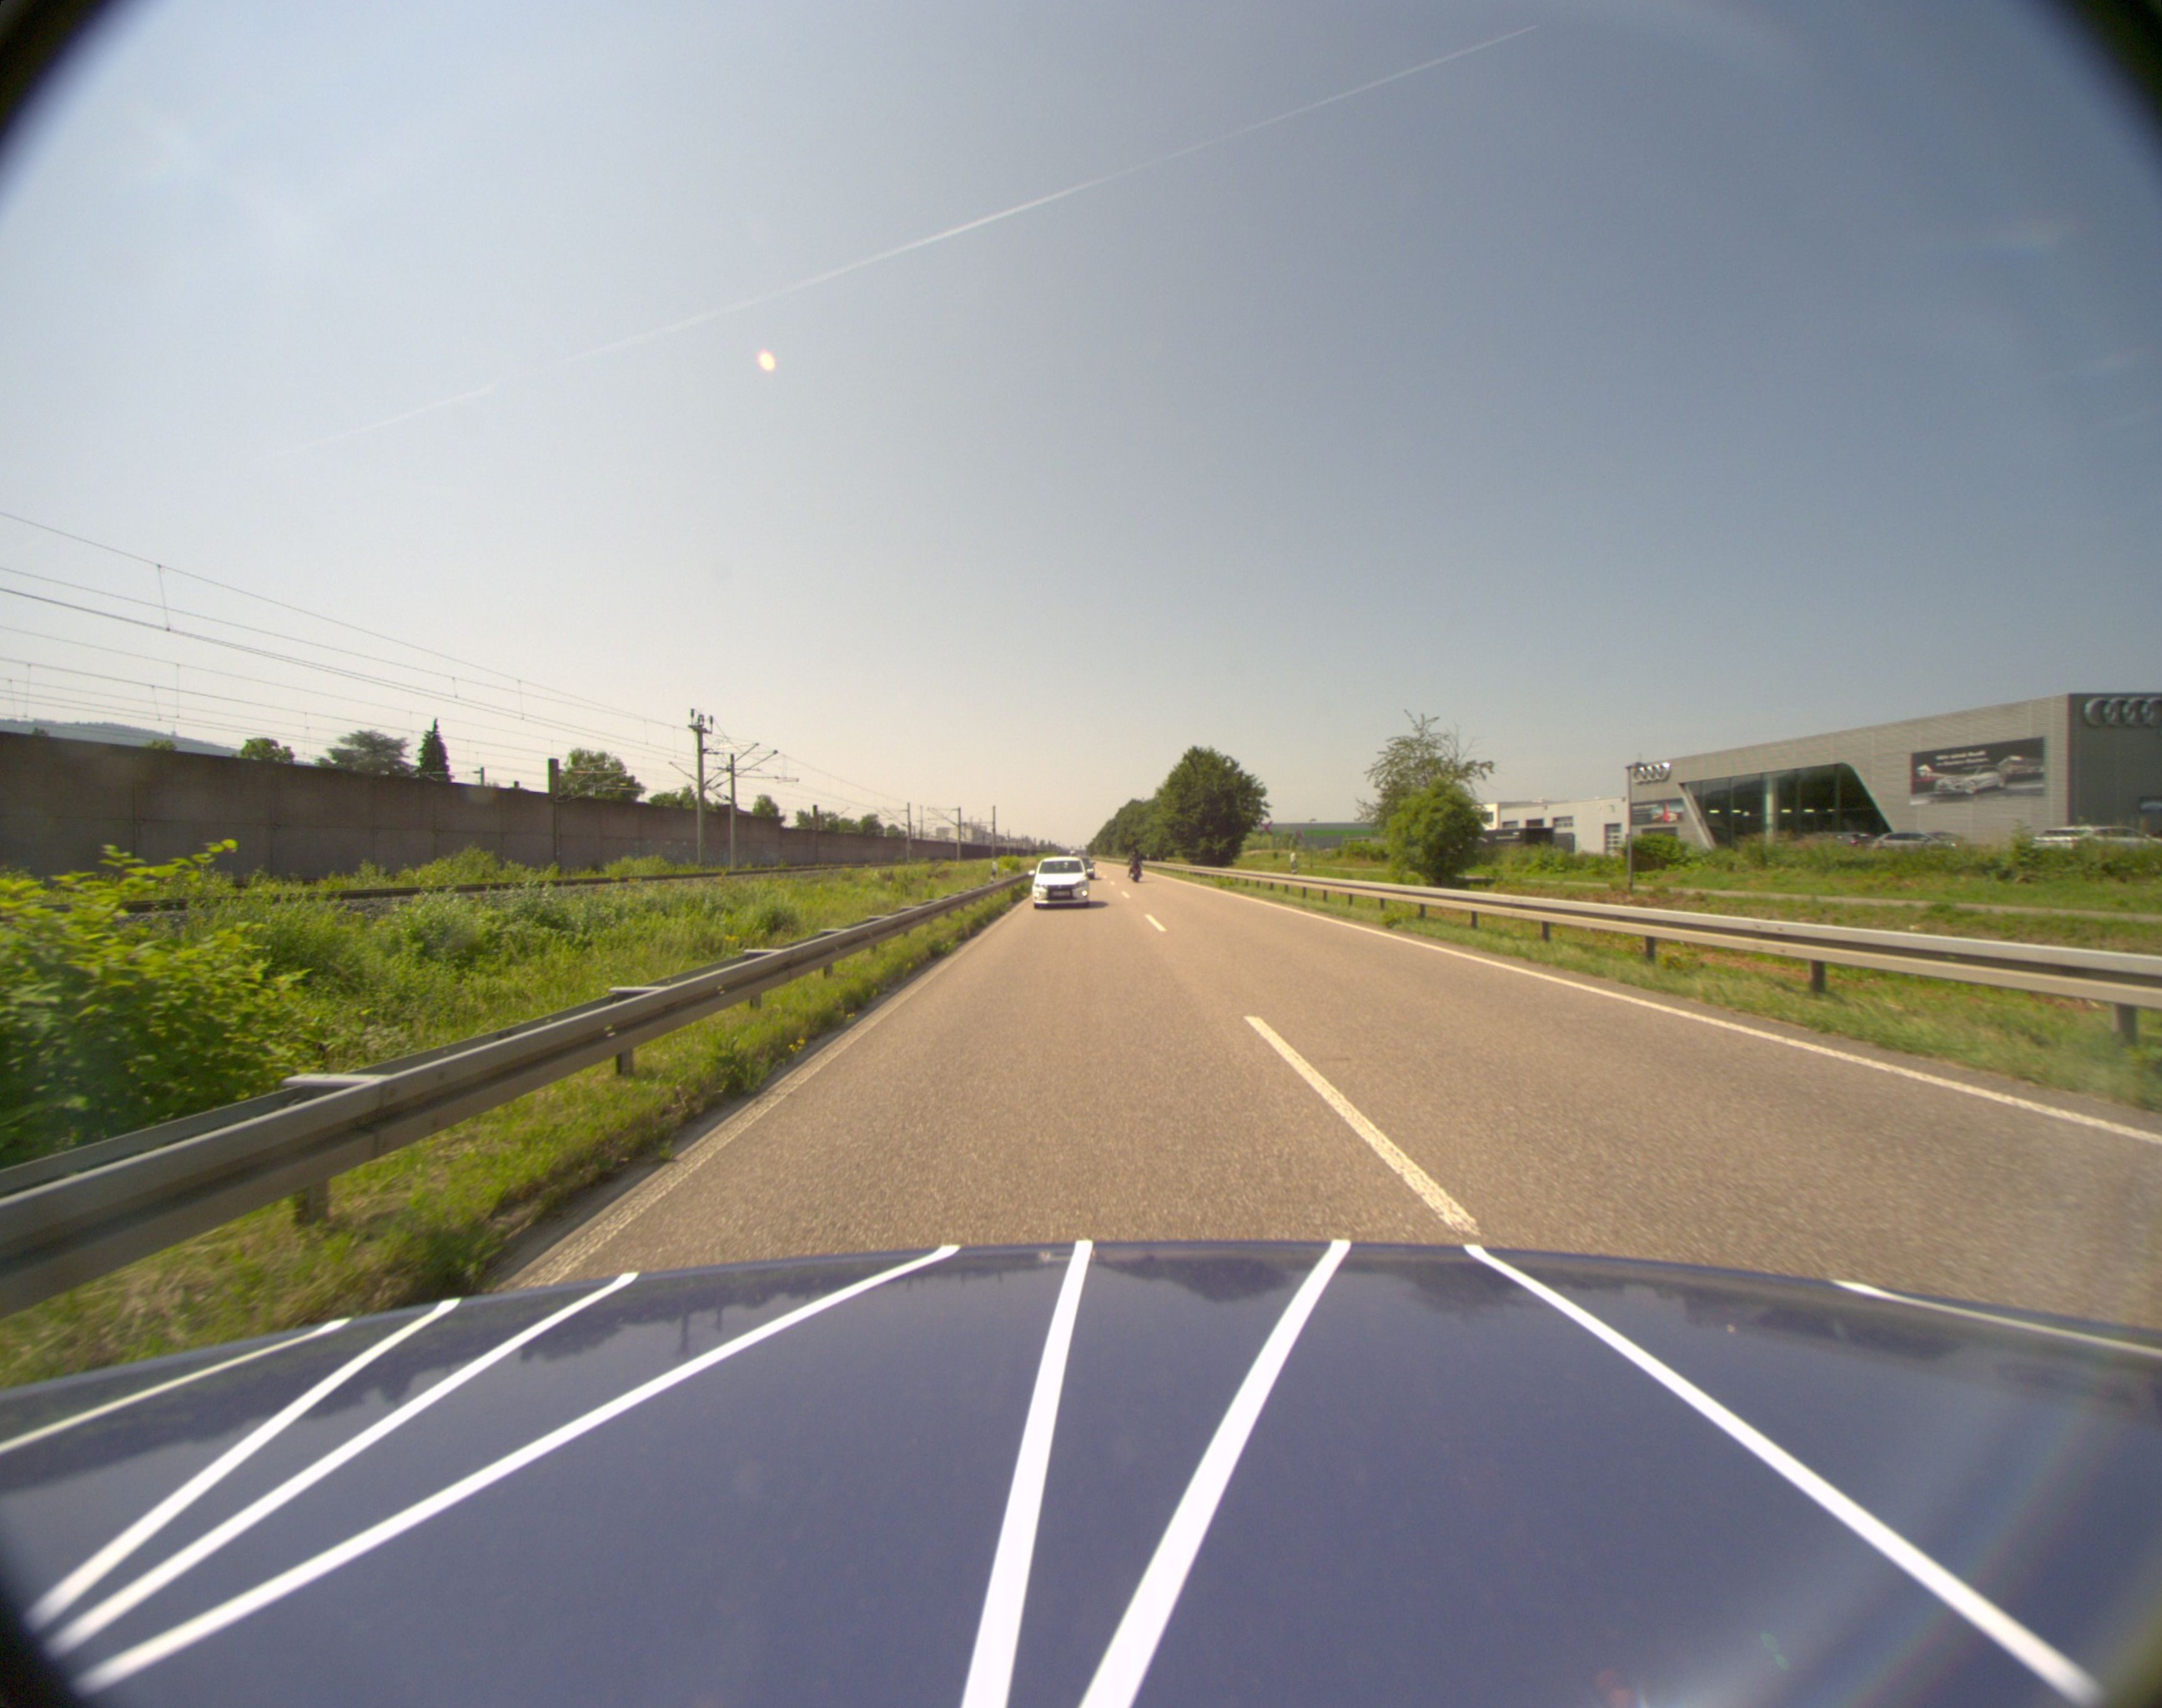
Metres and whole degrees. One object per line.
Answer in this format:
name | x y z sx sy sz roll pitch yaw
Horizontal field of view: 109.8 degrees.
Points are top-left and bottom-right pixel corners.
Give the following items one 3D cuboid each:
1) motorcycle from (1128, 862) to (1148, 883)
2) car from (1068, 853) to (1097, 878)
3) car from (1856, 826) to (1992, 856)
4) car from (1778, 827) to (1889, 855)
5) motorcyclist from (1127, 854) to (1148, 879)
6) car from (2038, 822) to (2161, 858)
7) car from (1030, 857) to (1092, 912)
motorcycle | 3.046 0.966 40.943 0.930 1.022 2.268 -2 0 1
car | 0.067 0.683 47.974 1.711 1.470 4.154 -1 0 -1
car | 42.881 -0.642 38.831 1.751 1.428 4.665 1 0 1
car | 43.292 -0.737 43.882 1.751 1.528 4.665 1 0 0
motorcyclist | 3.027 0.669 40.860 0.996 1.302 0.935 -2 1 1
car | 43.609 -0.579 32.293 4.239 1.428 1.623 1 0 -6
car | -0.597 0.878 23.523 1.701 1.470 4.154 -1 0 -1
